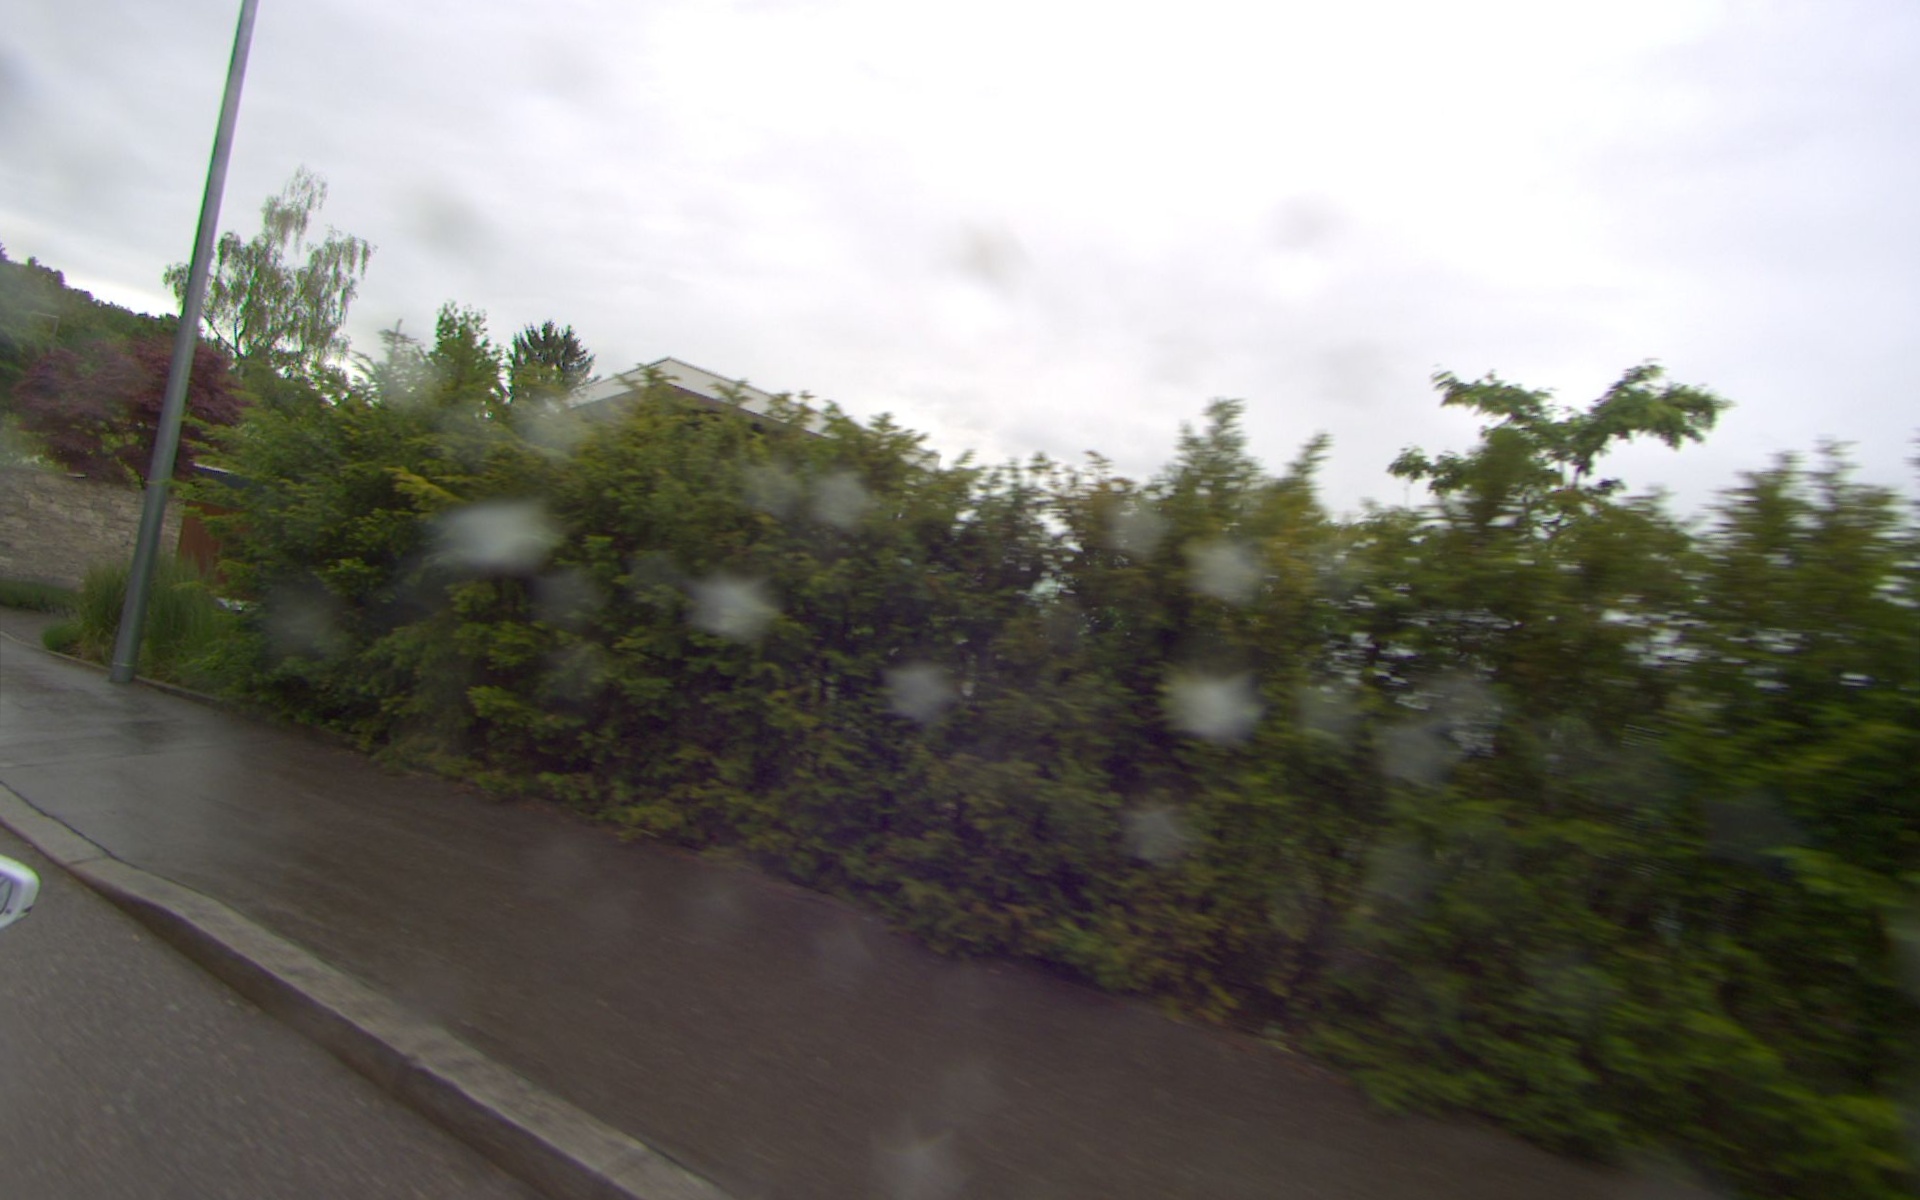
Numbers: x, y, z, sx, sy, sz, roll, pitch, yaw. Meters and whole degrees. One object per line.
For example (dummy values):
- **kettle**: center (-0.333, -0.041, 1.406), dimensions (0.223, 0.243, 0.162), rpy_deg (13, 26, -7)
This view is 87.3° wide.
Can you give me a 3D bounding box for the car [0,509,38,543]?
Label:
- **car**: center (-56.160, -4.457, 58.971), dimensions (1.980, 1.657, 3.974), rpy_deg (11, -4, -28)
